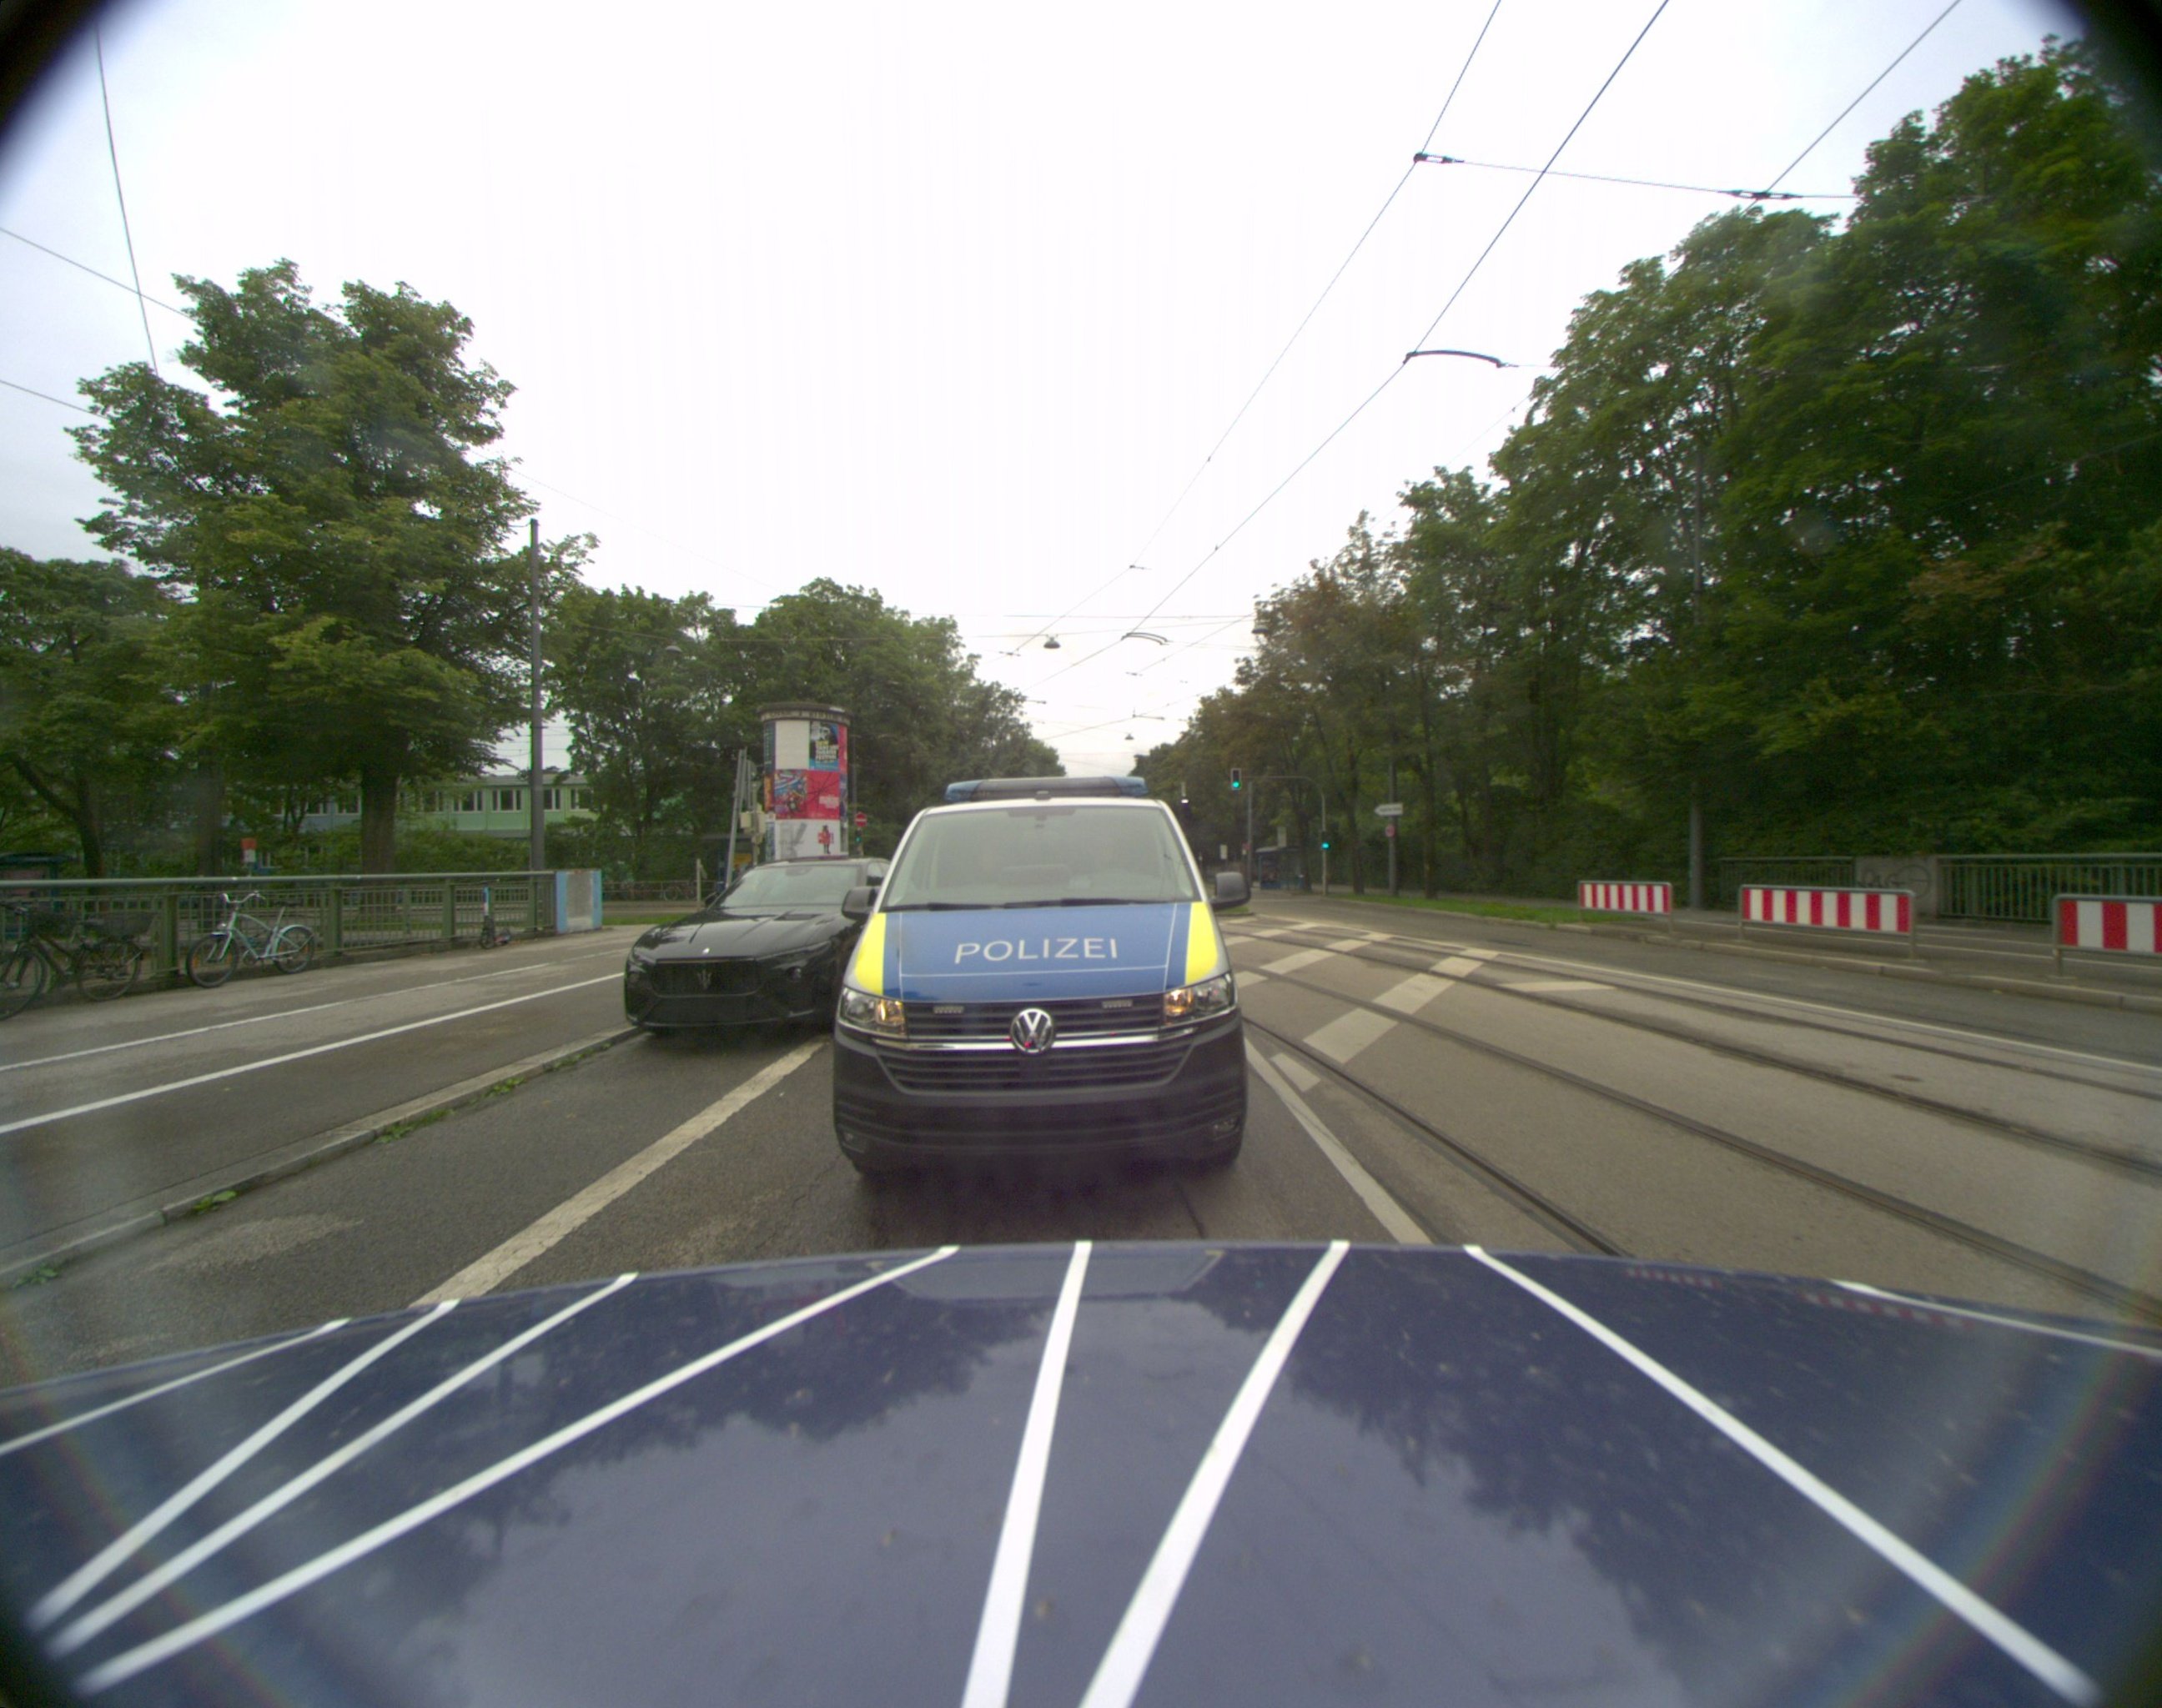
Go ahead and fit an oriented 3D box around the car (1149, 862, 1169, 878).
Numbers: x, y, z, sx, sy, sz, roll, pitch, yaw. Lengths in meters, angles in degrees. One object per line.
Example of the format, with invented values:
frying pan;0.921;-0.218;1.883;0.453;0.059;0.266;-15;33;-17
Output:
car;9.335;1.931;91.076;1.888;1.716;3.999;-3;0;-1

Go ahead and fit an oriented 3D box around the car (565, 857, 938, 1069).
car;-3.045;0.885;8.333;1.905;1.600;4.665;-3;-1;1

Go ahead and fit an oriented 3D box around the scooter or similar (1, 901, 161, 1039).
scooter or similar;-10.588;1.170;8.106;0.245;1.255;1.493;-3;0;-22

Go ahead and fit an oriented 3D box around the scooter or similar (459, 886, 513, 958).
scooter or similar;-10.641;1.191;13.610;0.225;1.205;1.020;-3;1;-8

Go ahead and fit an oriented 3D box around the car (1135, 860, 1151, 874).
car;8.600;1.804;105.738;1.888;1.716;3.999;-3;0;-1

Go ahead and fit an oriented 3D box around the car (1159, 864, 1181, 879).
car;10.060;1.998;85.741;1.888;1.531;3.999;-3;0;-1

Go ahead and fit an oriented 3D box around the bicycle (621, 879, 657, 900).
bicycle;-20.795;1.668;35.734;1.483;0.946;0.373;-1;1;3

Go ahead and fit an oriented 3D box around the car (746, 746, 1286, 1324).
car;-0.271;0.640;5.572;1.903;2.041;5.708;-1;0;-1

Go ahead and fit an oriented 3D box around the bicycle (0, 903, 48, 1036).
bicycle;-10.593;1.138;7.114;0.283;1.274;1.408;-3;0;-19

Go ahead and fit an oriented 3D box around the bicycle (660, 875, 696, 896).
bicycle;-18.807;1.460;35.464;1.483;0.946;0.373;-1;1;3

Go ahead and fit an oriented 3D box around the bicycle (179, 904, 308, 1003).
bicycle;-10.742;1.234;9.808;0.265;1.076;1.540;-3;0;-14
